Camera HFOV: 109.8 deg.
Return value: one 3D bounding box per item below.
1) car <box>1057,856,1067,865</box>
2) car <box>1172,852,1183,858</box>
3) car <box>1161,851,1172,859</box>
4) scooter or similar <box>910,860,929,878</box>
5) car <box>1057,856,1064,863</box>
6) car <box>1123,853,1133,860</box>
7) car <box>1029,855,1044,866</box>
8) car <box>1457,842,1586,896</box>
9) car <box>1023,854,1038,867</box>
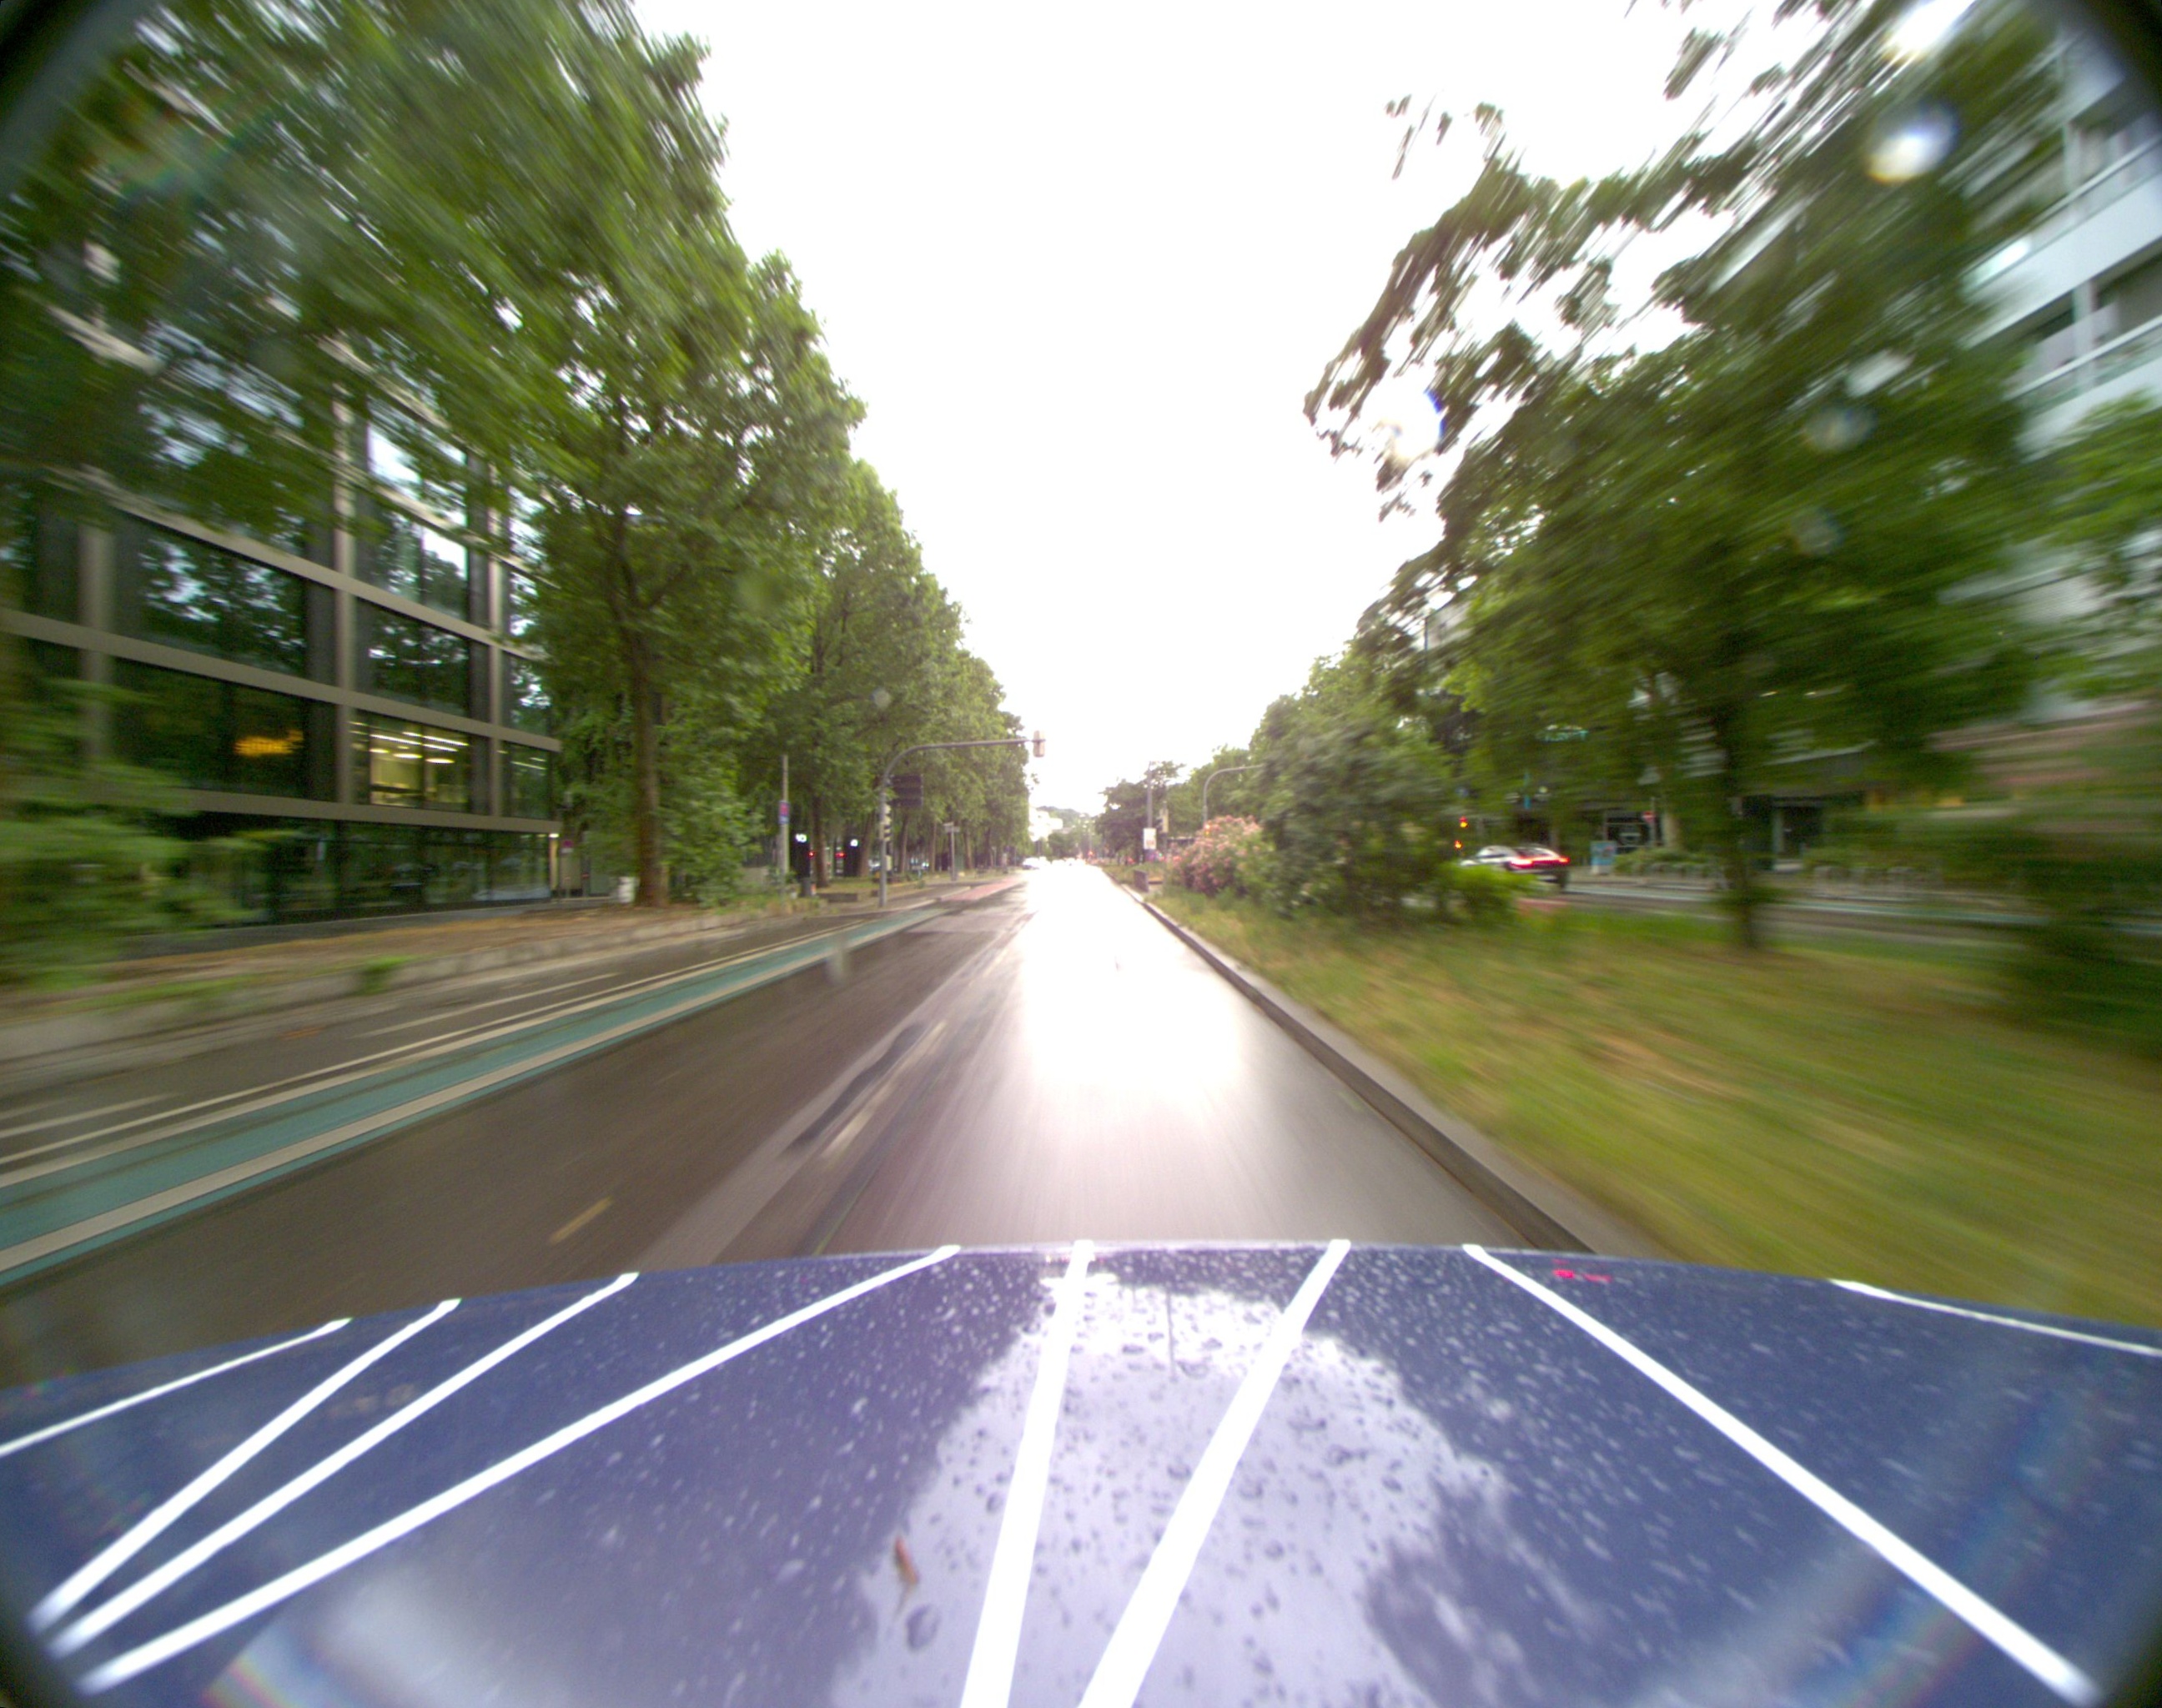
[{"bbox_3d":[-3.733,1.230,147.587,1.780,1.546,3.929,-3,1,0],"label":"car"},{"bbox_3d":[20.841,0.219,164.448,1.765,1.318,3.737,-3,1,1],"label":"car"},{"bbox_3d":[17.862,0.282,159.674,1.781,1.565,3.728,-3,1,-1],"label":"car"},{"bbox_3d":[-11.600,1.072,54.555,1.187,1.275,0.535,-3,1,-40],"label":"scooter or similar"},{"bbox_3d":[-4.666,1.290,171.615,1.557,1.534,3.663,-3,1,0],"label":"car"},{"bbox_3d":[10.114,0.605,164.487,1.678,1.381,3.527,-3,1,-3],"label":"car"},{"bbox_3d":[-7.096,0.970,122.362,2.036,1.553,4.584,-3,1,1],"label":"car"},{"bbox_3d":[14.893,0.427,26.031,1.914,1.575,4.747,-3,1,4],"label":"car"},{"bbox_3d":[-7.640,1.017,116.138,1.932,1.726,4.597,-3,1,-1],"label":"car"}]
